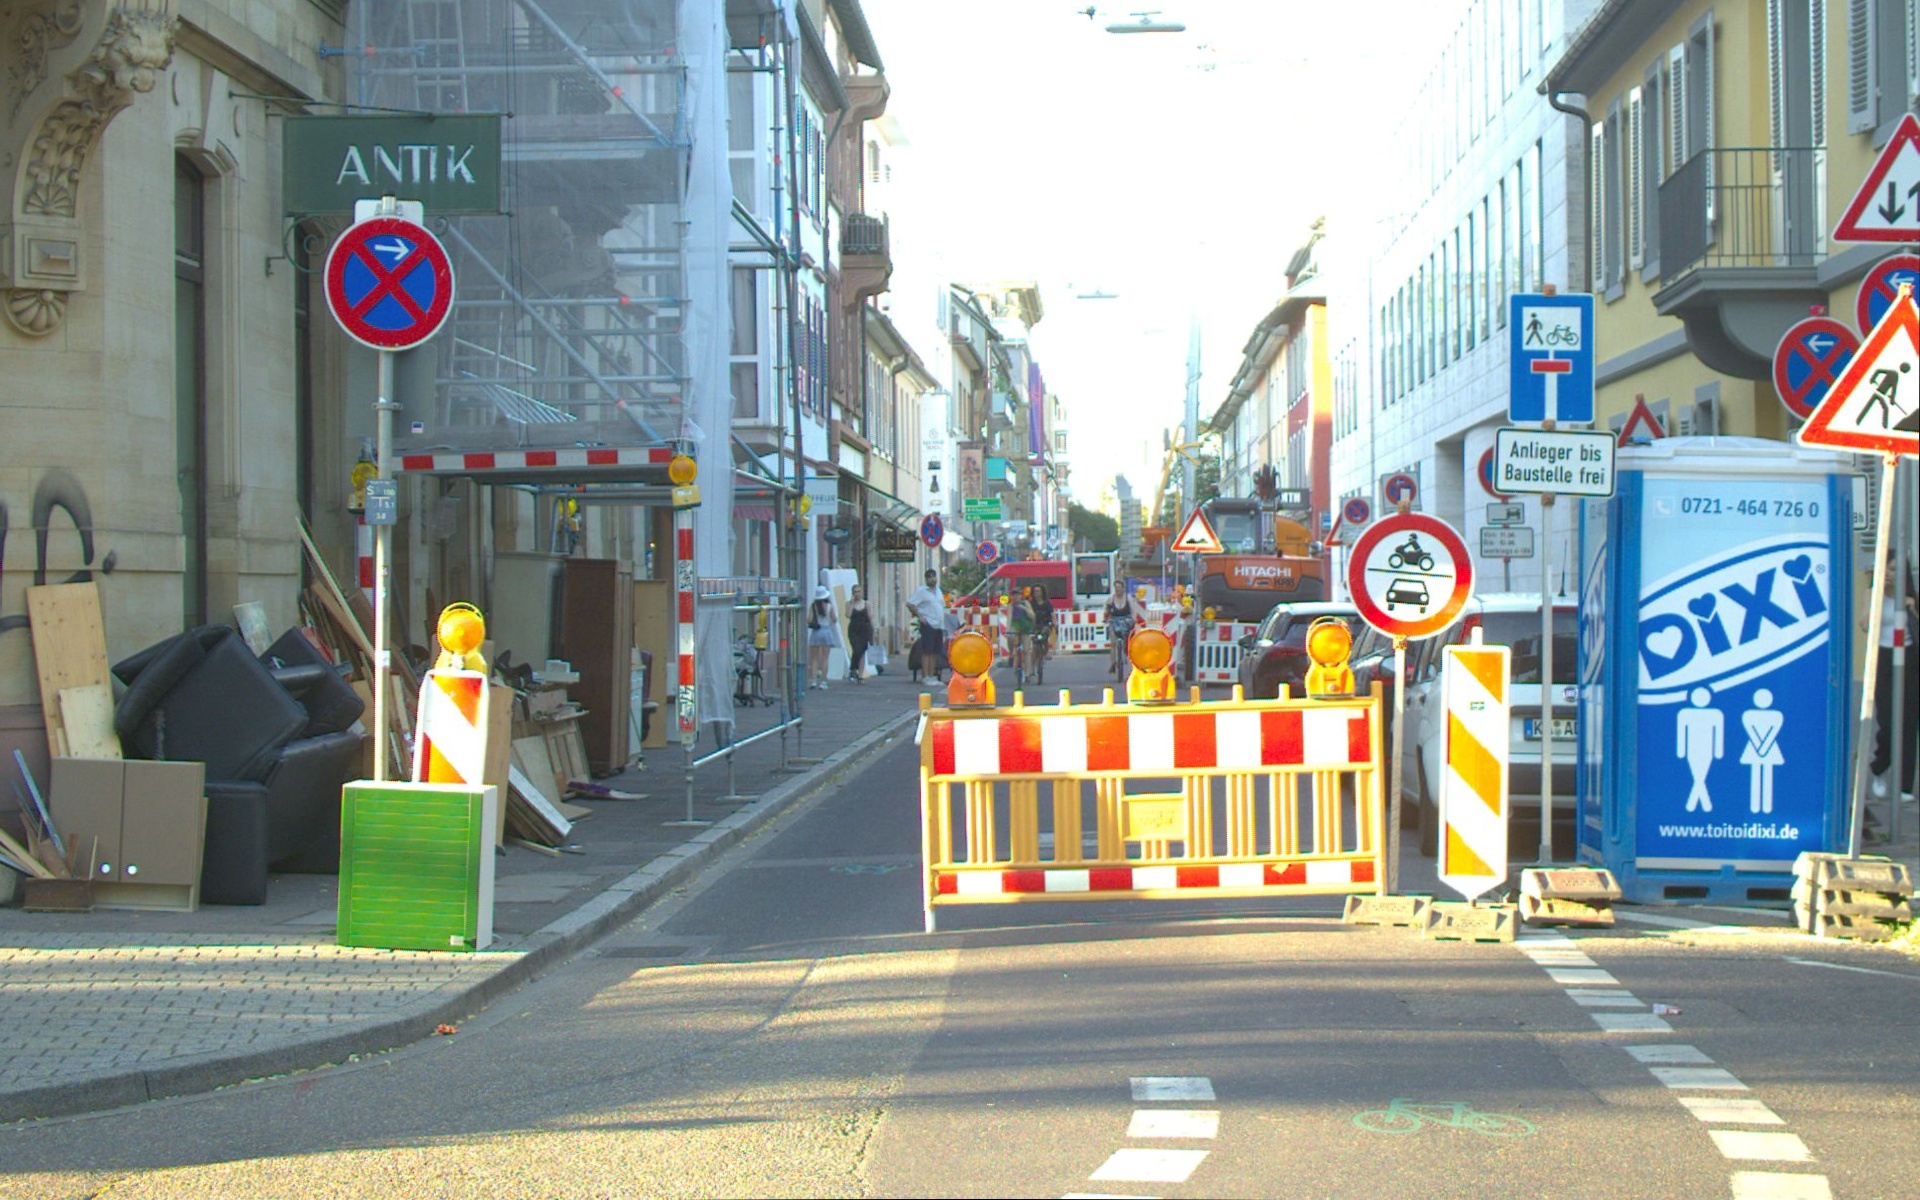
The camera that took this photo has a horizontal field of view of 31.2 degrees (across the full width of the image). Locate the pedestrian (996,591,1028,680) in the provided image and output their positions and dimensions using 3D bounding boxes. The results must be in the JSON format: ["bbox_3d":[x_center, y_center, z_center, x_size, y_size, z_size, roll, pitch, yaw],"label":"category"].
[{"bbox_3d":[0.864,0.580,56.848,0.504,1.456,0.512,-1,0,3],"label":"pedestrian"}]

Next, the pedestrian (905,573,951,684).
[{"bbox_3d":[-0.503,0.453,54.688,0.504,1.758,0.512,-1,0,-38],"label":"pedestrian"}]

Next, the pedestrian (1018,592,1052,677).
[{"bbox_3d":[1.291,0.595,59.343,0.504,1.456,0.512,-1,0,9],"label":"pedestrian"}]

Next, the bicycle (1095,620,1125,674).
[{"bbox_3d":[2.588,0.808,59.381,0.504,0.881,1.477,-1,0,3],"label":"bicycle"}]

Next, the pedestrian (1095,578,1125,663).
[{"bbox_3d":[2.589,0.345,59.352,0.504,1.456,0.512,-1,0,3],"label":"pedestrian"}]

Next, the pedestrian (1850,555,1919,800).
[{"bbox_3d":[6.164,0.500,22.652,0.467,1.589,0.673,-1,0,5],"label":"pedestrian"}]

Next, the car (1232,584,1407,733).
[{"bbox_3d":[3.856,0.603,37.291,1.718,1.515,3.221,-1,0,3],"label":"car"}]

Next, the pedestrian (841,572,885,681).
[{"bbox_3d":[-1.539,0.425,54.665,0.676,1.727,0.700,0,0,0],"label":"pedestrian"}]

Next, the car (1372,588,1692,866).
[{"bbox_3d":[3.392,0.703,20.852,1.540,1.515,3.221,1,0,3],"label":"car"}]

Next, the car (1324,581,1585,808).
[{"bbox_3d":[3.573,0.636,25.379,1.540,1.515,3.978,-1,0,3],"label":"car"}]
